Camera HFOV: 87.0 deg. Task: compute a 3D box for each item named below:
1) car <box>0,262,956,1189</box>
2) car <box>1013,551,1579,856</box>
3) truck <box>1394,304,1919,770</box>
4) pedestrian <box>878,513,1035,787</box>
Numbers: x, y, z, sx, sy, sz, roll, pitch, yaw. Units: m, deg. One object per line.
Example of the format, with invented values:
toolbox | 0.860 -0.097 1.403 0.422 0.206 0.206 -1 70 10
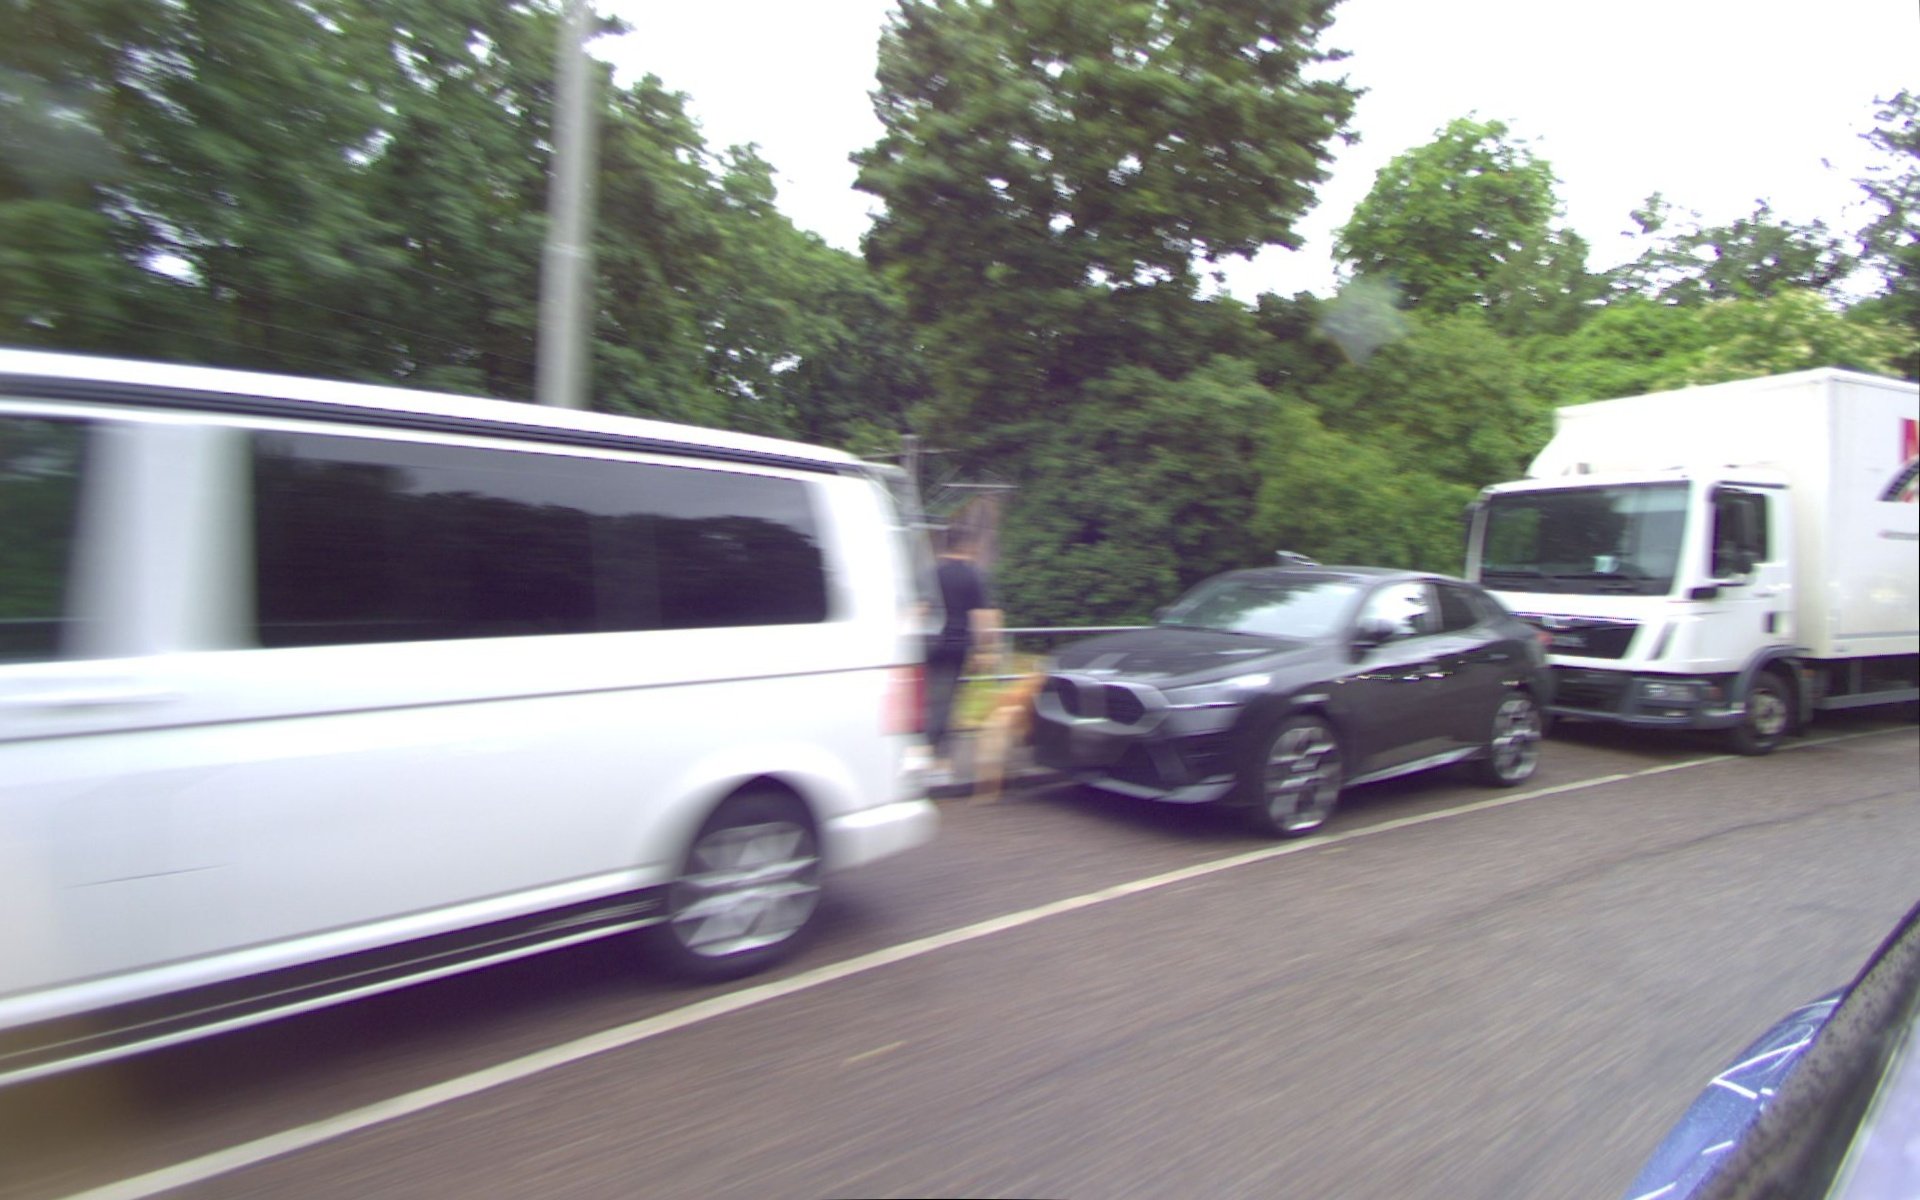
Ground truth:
car | -2.349 0.256 3.276 4.611 2.039 1.879 0 1 -42
car | 2.536 0.488 7.168 4.198 1.575 1.723 -1 2 -37
truck | 8.865 -0.583 11.017 8.165 3.618 3.022 -1 1 -26
pedestrian | -0.051 0.301 6.757 0.788 1.682 0.927 1 1 -15
